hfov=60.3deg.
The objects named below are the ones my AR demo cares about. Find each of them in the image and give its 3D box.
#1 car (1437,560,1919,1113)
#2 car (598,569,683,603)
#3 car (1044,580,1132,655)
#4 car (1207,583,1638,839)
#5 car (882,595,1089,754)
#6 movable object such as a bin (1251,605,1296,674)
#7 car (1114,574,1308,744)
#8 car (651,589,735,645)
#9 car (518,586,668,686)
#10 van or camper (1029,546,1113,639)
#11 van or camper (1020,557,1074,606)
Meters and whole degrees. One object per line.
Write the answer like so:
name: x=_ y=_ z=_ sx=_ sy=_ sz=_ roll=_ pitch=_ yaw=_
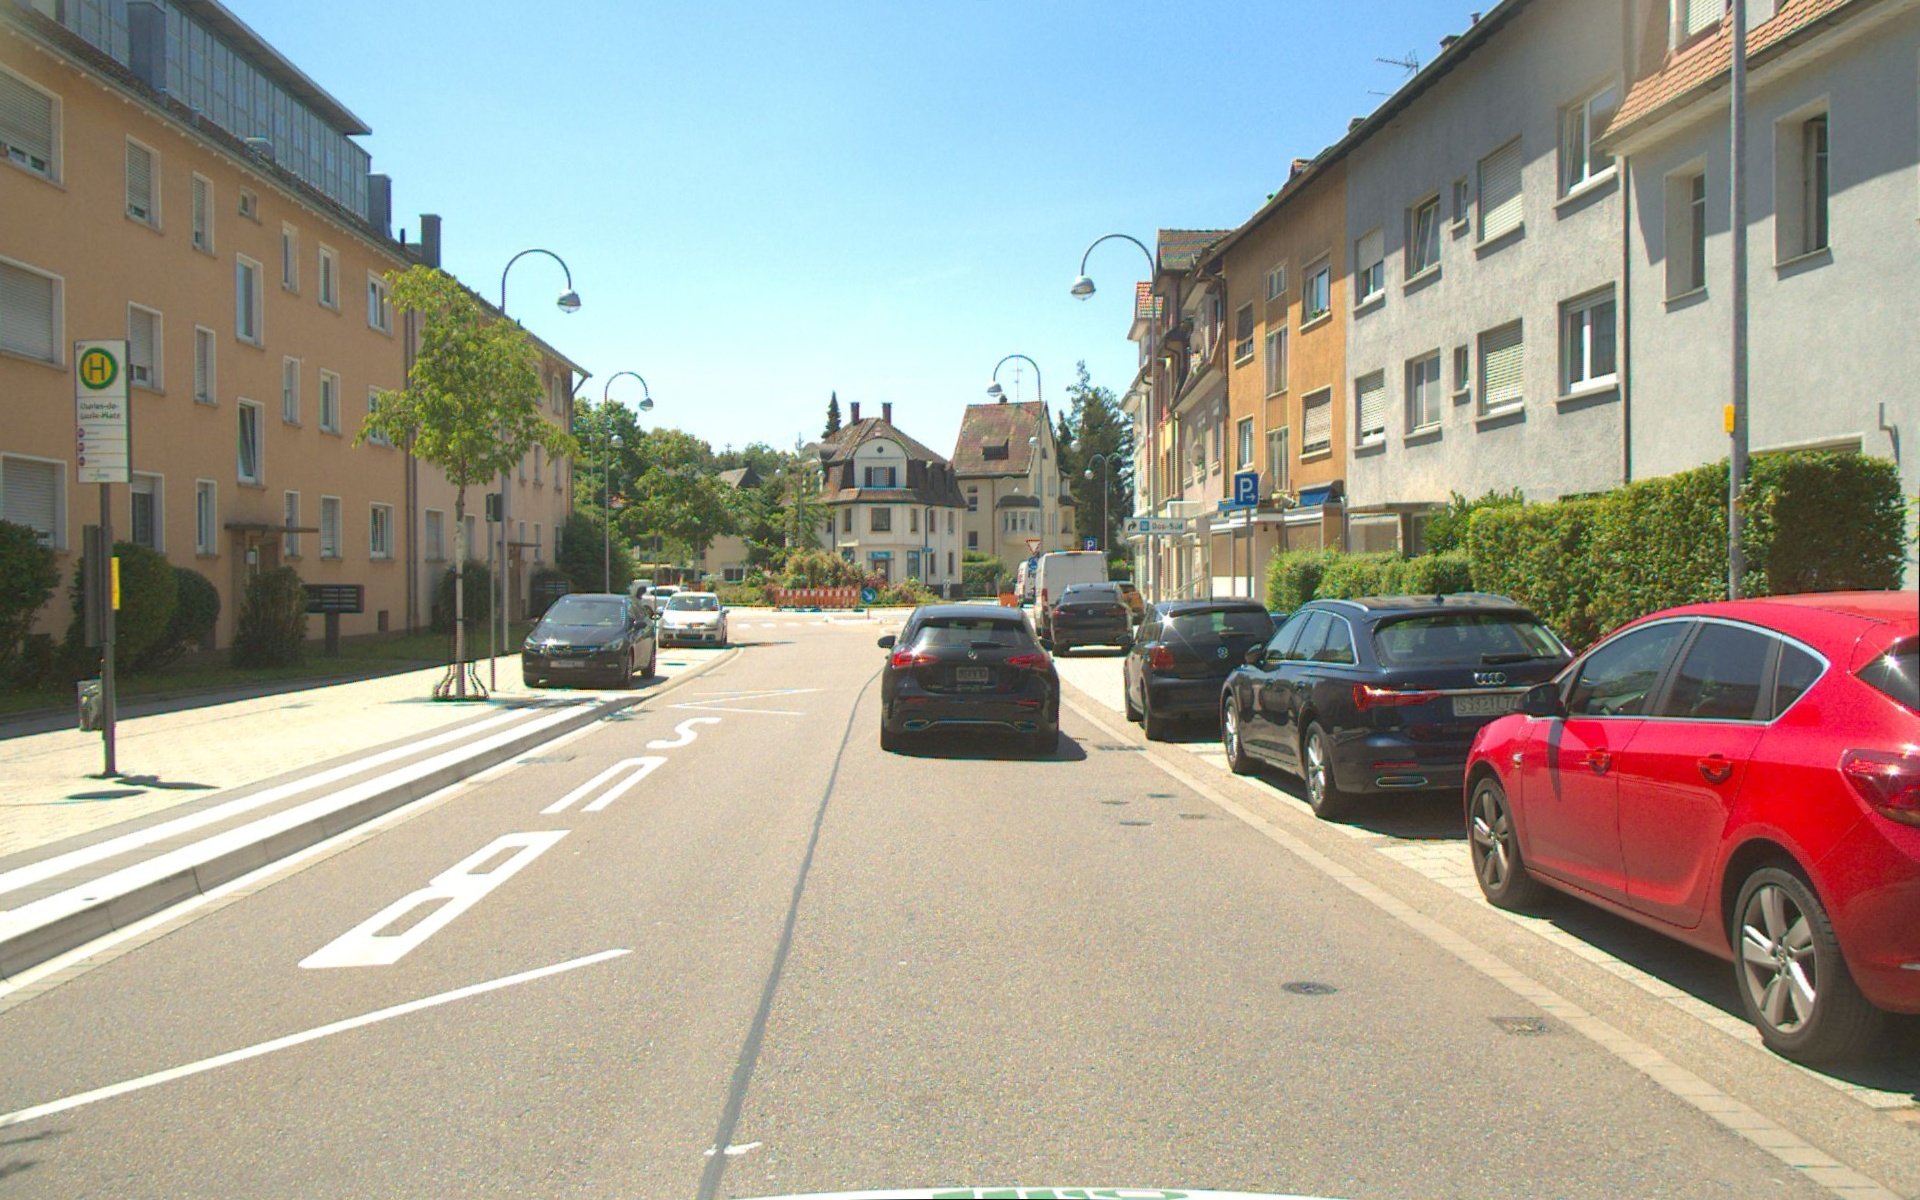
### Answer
car: x=3.534 y=0.640 z=6.789 sx=1.767 sy=1.556 sz=4.149 roll=-2 pitch=1 yaw=-2
car: x=-18.460 y=-0.777 z=95.809 sx=1.955 sy=1.847 sz=5.414 roll=2 pitch=1 yaw=27
car: x=3.082 y=0.374 z=39.144 sx=1.855 sy=1.635 sz=4.368 roll=-2 pitch=0 yaw=7
car: x=3.257 y=0.668 z=12.726 sx=1.767 sy=1.500 sz=4.718 roll=-3 pitch=1 yaw=-2
car: x=0.194 y=0.717 z=17.501 sx=1.914 sy=1.452 sz=3.999 roll=1 pitch=-1 yaw=-1
movable object such as a bin: x=5.087 y=0.634 z=26.848 sx=0.581 sy=1.095 sz=0.647 roll=-1 pitch=0 yaw=-2
car: x=2.764 y=0.579 z=18.986 sx=1.692 sy=1.661 sz=4.001 roll=-2 pitch=1 yaw=2
car: x=-7.224 y=0.450 z=45.028 sx=1.955 sy=1.445 sz=4.084 roll=0 pitch=0 yaw=-5
car: x=-6.248 y=0.556 z=28.652 sx=1.820 sy=1.533 sz=4.560 roll=0 pitch=1 yaw=-3
van or camper: x=3.315 y=-0.261 z=50.577 sx=2.120 sy=2.634 sz=5.765 roll=-1 pitch=1 yaw=0
van or camper: x=4.917 y=-1.029 z=92.713 sx=2.159 sy=2.656 sz=4.003 roll=1 pitch=1 yaw=16
